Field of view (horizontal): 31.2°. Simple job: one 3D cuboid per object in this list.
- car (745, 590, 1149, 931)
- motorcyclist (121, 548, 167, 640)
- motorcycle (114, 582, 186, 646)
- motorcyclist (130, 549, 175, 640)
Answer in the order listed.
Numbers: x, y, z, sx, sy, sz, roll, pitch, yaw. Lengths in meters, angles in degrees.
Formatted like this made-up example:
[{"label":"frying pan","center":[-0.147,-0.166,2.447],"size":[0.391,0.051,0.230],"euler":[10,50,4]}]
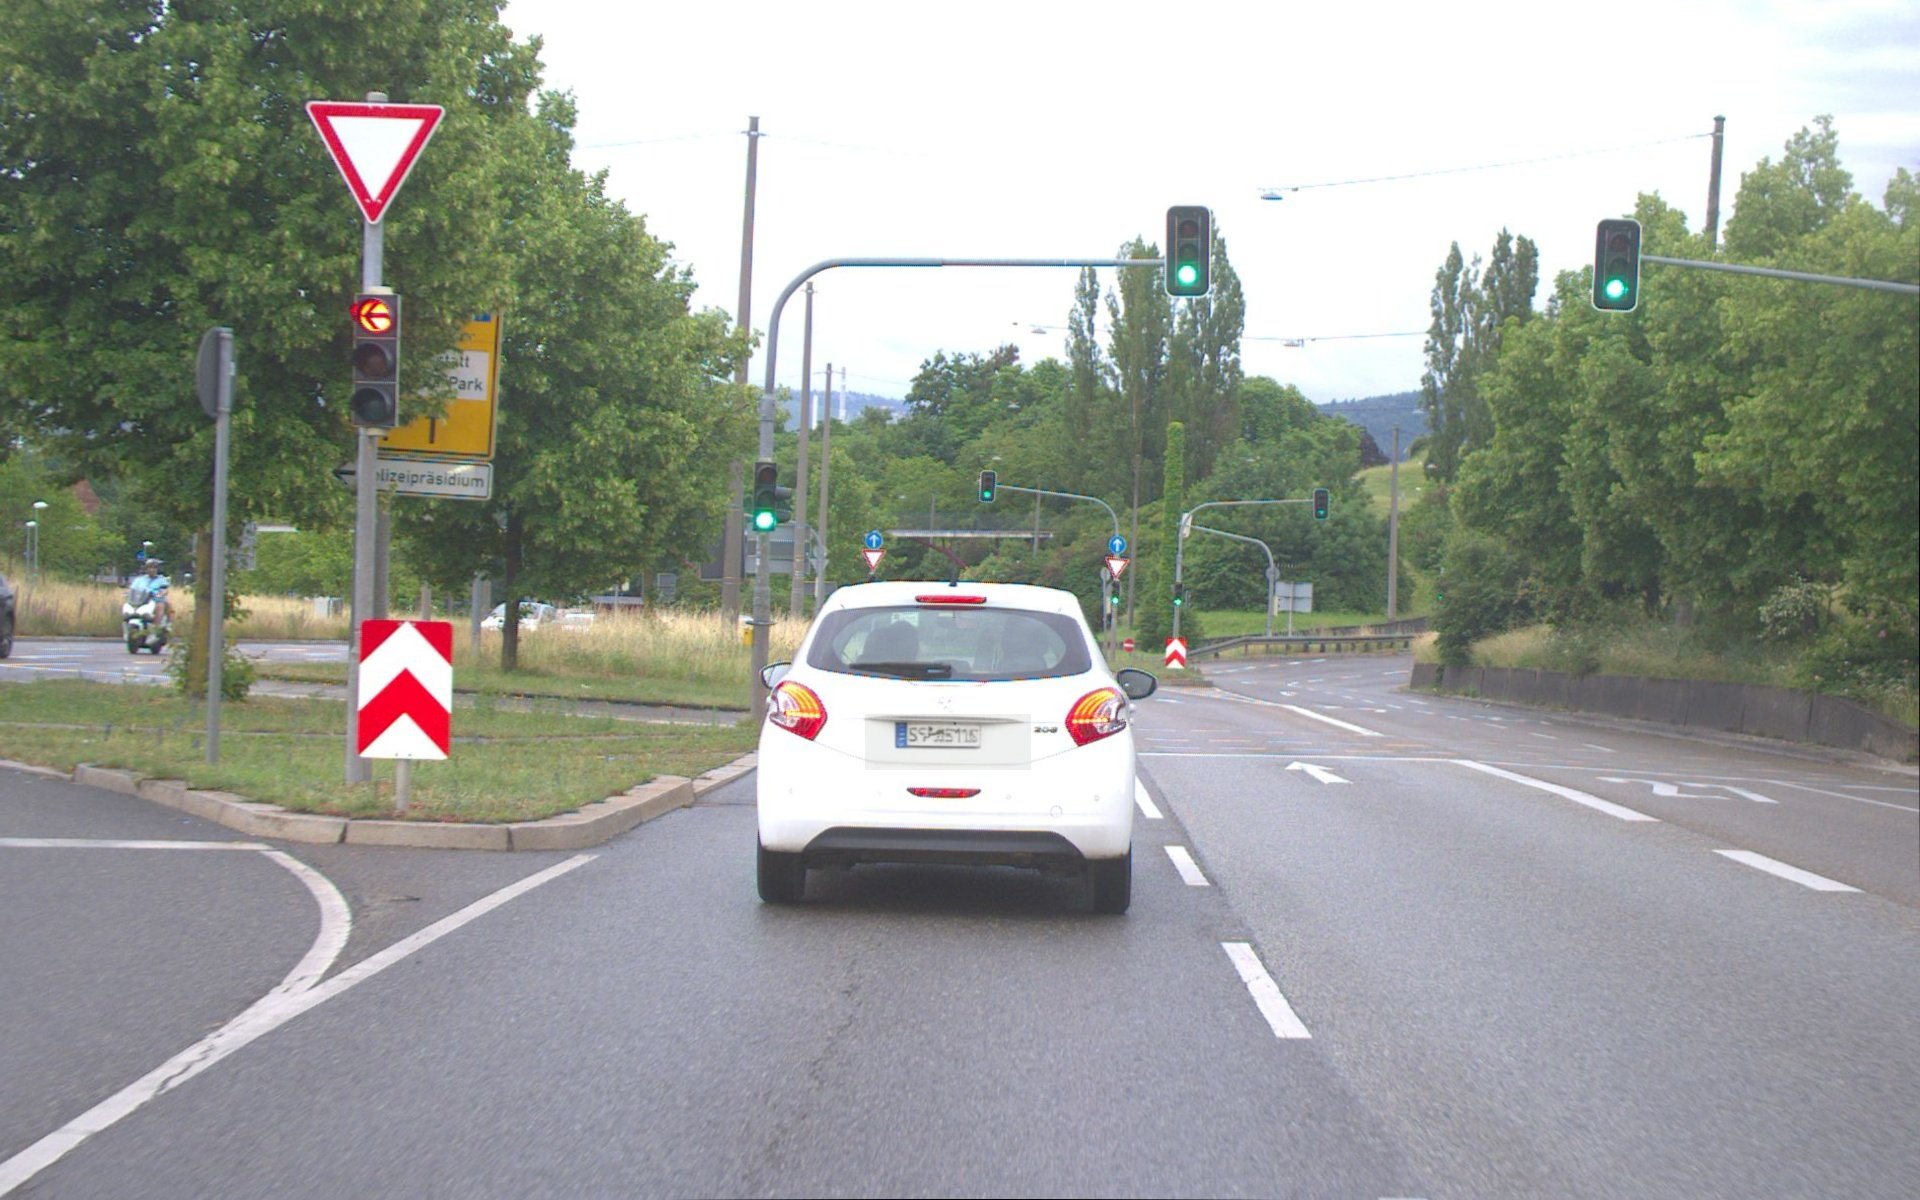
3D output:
[{"label":"car","center":[-0.022,0.679,16.518],"size":[1.708,1.435,3.690],"euler":[1,0,1]},{"label":"motorcyclist","center":[-14.374,-0.112,60.561],"size":[0.582,1.590,0.643],"euler":[2,1,1]},{"label":"motorcycle","center":[-14.382,0.239,61.084],"size":[0.617,1.046,2.502],"euler":[2,1,1]},{"label":"motorcyclist","center":[-14.377,-0.100,61.217],"size":[0.612,1.576,0.582],"euler":[2,1,1]}]
